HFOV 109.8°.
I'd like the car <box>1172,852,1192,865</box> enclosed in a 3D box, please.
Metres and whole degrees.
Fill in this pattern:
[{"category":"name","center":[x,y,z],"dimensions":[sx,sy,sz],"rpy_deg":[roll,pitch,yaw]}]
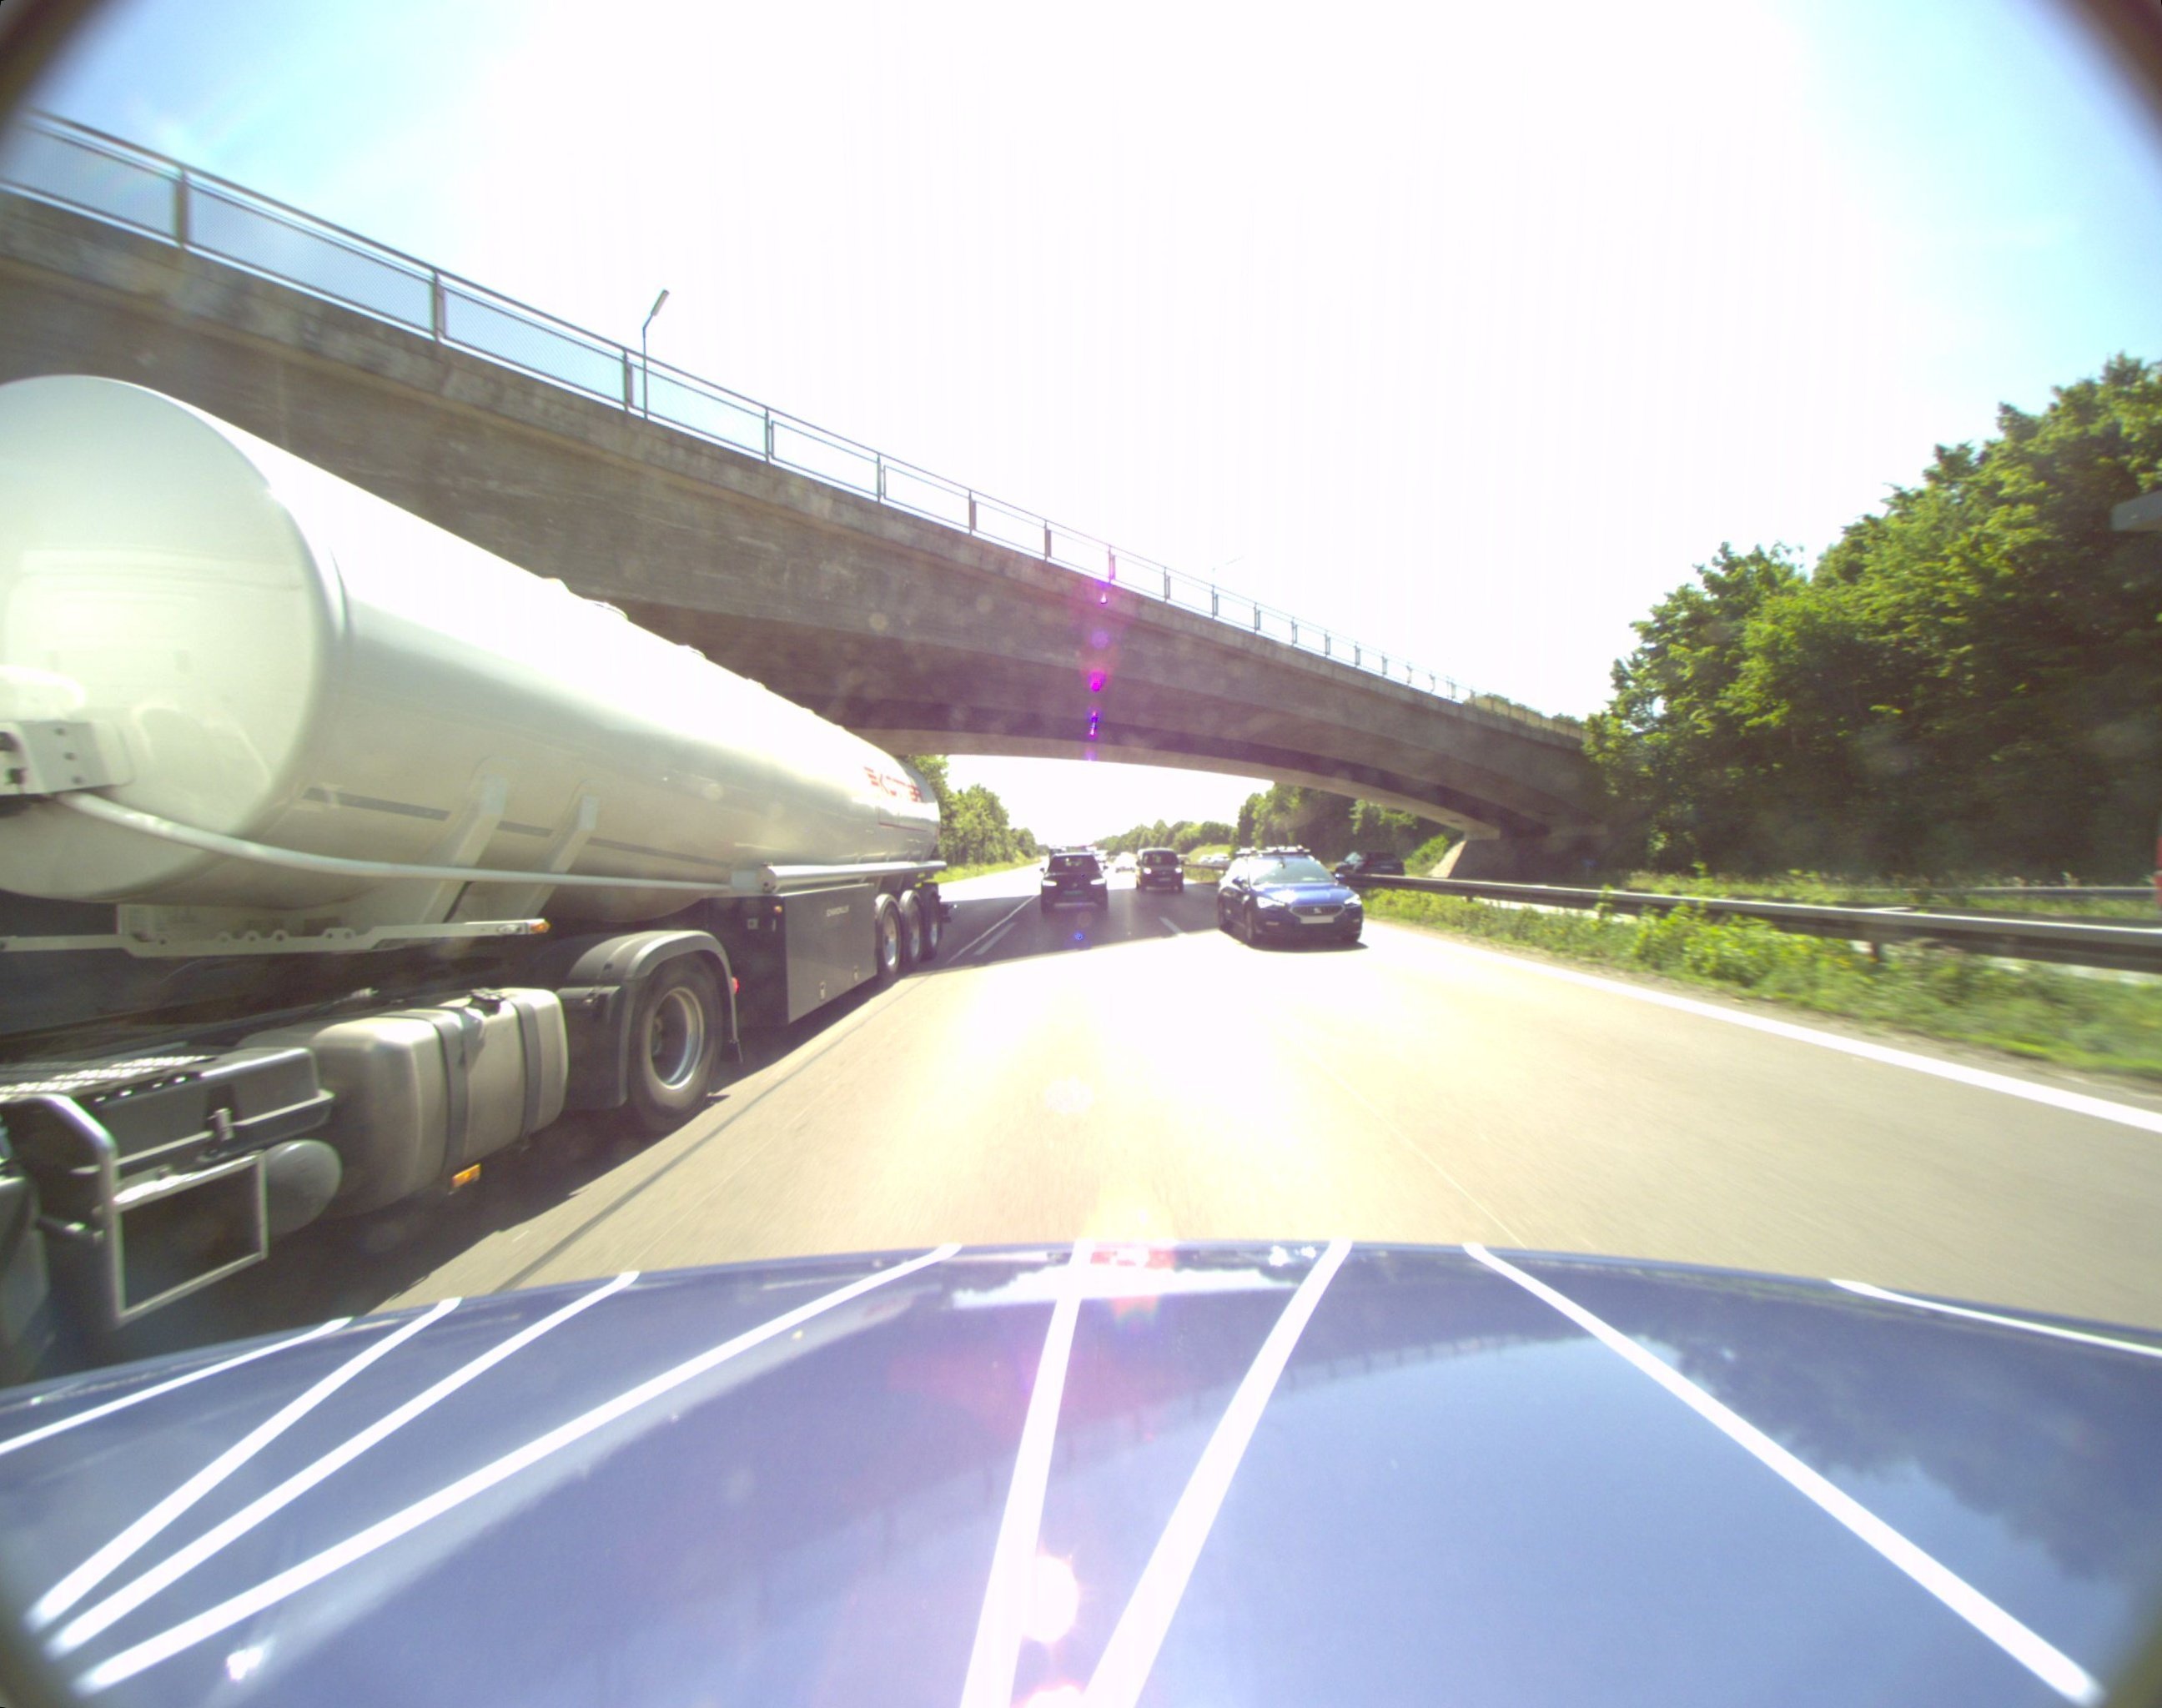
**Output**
[{"category":"car","center":[11.924,0.520,90.000],"dimensions":[1.779,1.465,4.419],"rpy_deg":[1,0,0]}]

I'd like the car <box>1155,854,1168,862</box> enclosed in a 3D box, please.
[{"category":"car","center":[15.024,0.689,142.035],"dimensions":[1.864,1.518,4.214],"rpy_deg":[-1,0,0]}]

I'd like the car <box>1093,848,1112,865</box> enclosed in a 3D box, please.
[{"category":"car","center":[3.903,0.395,139.142],"dimensions":[3.242,3.094,7.604],"rpy_deg":[-1,0,0]}]

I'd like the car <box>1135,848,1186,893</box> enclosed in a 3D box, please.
[{"category":"car","center":[3.330,0.638,32.370],"dimensions":[1.870,1.713,3.980],"rpy_deg":[-1,1,2]}]

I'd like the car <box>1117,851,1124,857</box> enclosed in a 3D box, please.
[{"category":"car","center":[10.889,0.094,212.221],"dimensions":[1.801,1.657,4.128],"rpy_deg":[-1,0,1]}]

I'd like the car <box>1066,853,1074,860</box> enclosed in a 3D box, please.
[{"category":"car","center":[-2.916,0.608,202.894],"dimensions":[1.998,1.856,4.228],"rpy_deg":[-1,0,0]}]

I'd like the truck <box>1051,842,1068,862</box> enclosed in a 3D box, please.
[{"category":"truck","center":[-3.815,-0.313,134.259],"dimensions":[2.965,3.388,8.046],"rpy_deg":[0,0,-2]}]

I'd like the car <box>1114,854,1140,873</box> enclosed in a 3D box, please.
[{"category":"car","center":[3.947,0.789,65.875],"dimensions":[1.999,1.540,3.999],"rpy_deg":[-1,1,0]}]

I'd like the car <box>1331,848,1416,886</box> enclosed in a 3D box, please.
[{"category":"car","center":[12.128,0.515,31.787],"dimensions":[1.886,1.475,4.434],"rpy_deg":[-1,0,1]}]

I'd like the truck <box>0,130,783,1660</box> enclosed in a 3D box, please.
[{"category":"truck","center":[-3.684,0.092,2.520],"dimensions":[2.644,3.355,6.487],"rpy_deg":[-2,0,1]}]

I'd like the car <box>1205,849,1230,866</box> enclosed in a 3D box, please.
[{"category":"car","center":[12.809,0.308,71.536],"dimensions":[1.686,1.473,4.348],"rpy_deg":[-1,0,1]}]

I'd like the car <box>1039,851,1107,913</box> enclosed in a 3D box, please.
[{"category":"car","center":[-0.248,0.763,22.730],"dimensions":[1.812,1.648,3.999],"rpy_deg":[-2,0,-1]}]

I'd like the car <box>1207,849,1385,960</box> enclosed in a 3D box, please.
[{"category":"car","center":[3.580,0.764,13.522],"dimensions":[1.905,1.616,4.240],"rpy_deg":[-2,0,0]}]

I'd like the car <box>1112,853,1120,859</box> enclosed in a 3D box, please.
[{"category":"car","center":[10.683,0.541,230.669],"dimensions":[1.999,1.595,5.089],"rpy_deg":[-1,0,0]}]

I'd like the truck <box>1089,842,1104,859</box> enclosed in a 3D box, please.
[{"category":"truck","center":[3.450,-0.760,175.724],"dimensions":[3.242,3.684,10.934],"rpy_deg":[-1,0,0]}]

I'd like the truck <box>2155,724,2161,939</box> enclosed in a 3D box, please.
[{"category":"truck","center":[19.960,-0.520,10.006],"dimensions":[2.792,4.037,6.209],"rpy_deg":[1,0,1]}]

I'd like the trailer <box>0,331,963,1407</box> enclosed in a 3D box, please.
[{"category":"trailer","center":[-3.623,0.078,7.992],"dimensions":[2.654,3.370,11.152],"rpy_deg":[-2,0,1]}]

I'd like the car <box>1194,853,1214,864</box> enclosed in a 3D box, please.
[{"category":"car","center":[15.904,0.554,98.446],"dimensions":[1.779,1.294,4.368],"rpy_deg":[1,0,0]}]

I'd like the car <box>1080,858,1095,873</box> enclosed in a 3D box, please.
[{"category":"car","center":[0.745,1.322,87.137],"dimensions":[1.743,1.630,3.844],"rpy_deg":[0,0,1]}]

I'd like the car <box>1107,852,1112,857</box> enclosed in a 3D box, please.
[{"category":"car","center":[9.675,0.250,256.256],"dimensions":[1.802,1.584,4.000],"rpy_deg":[-1,0,1]}]
